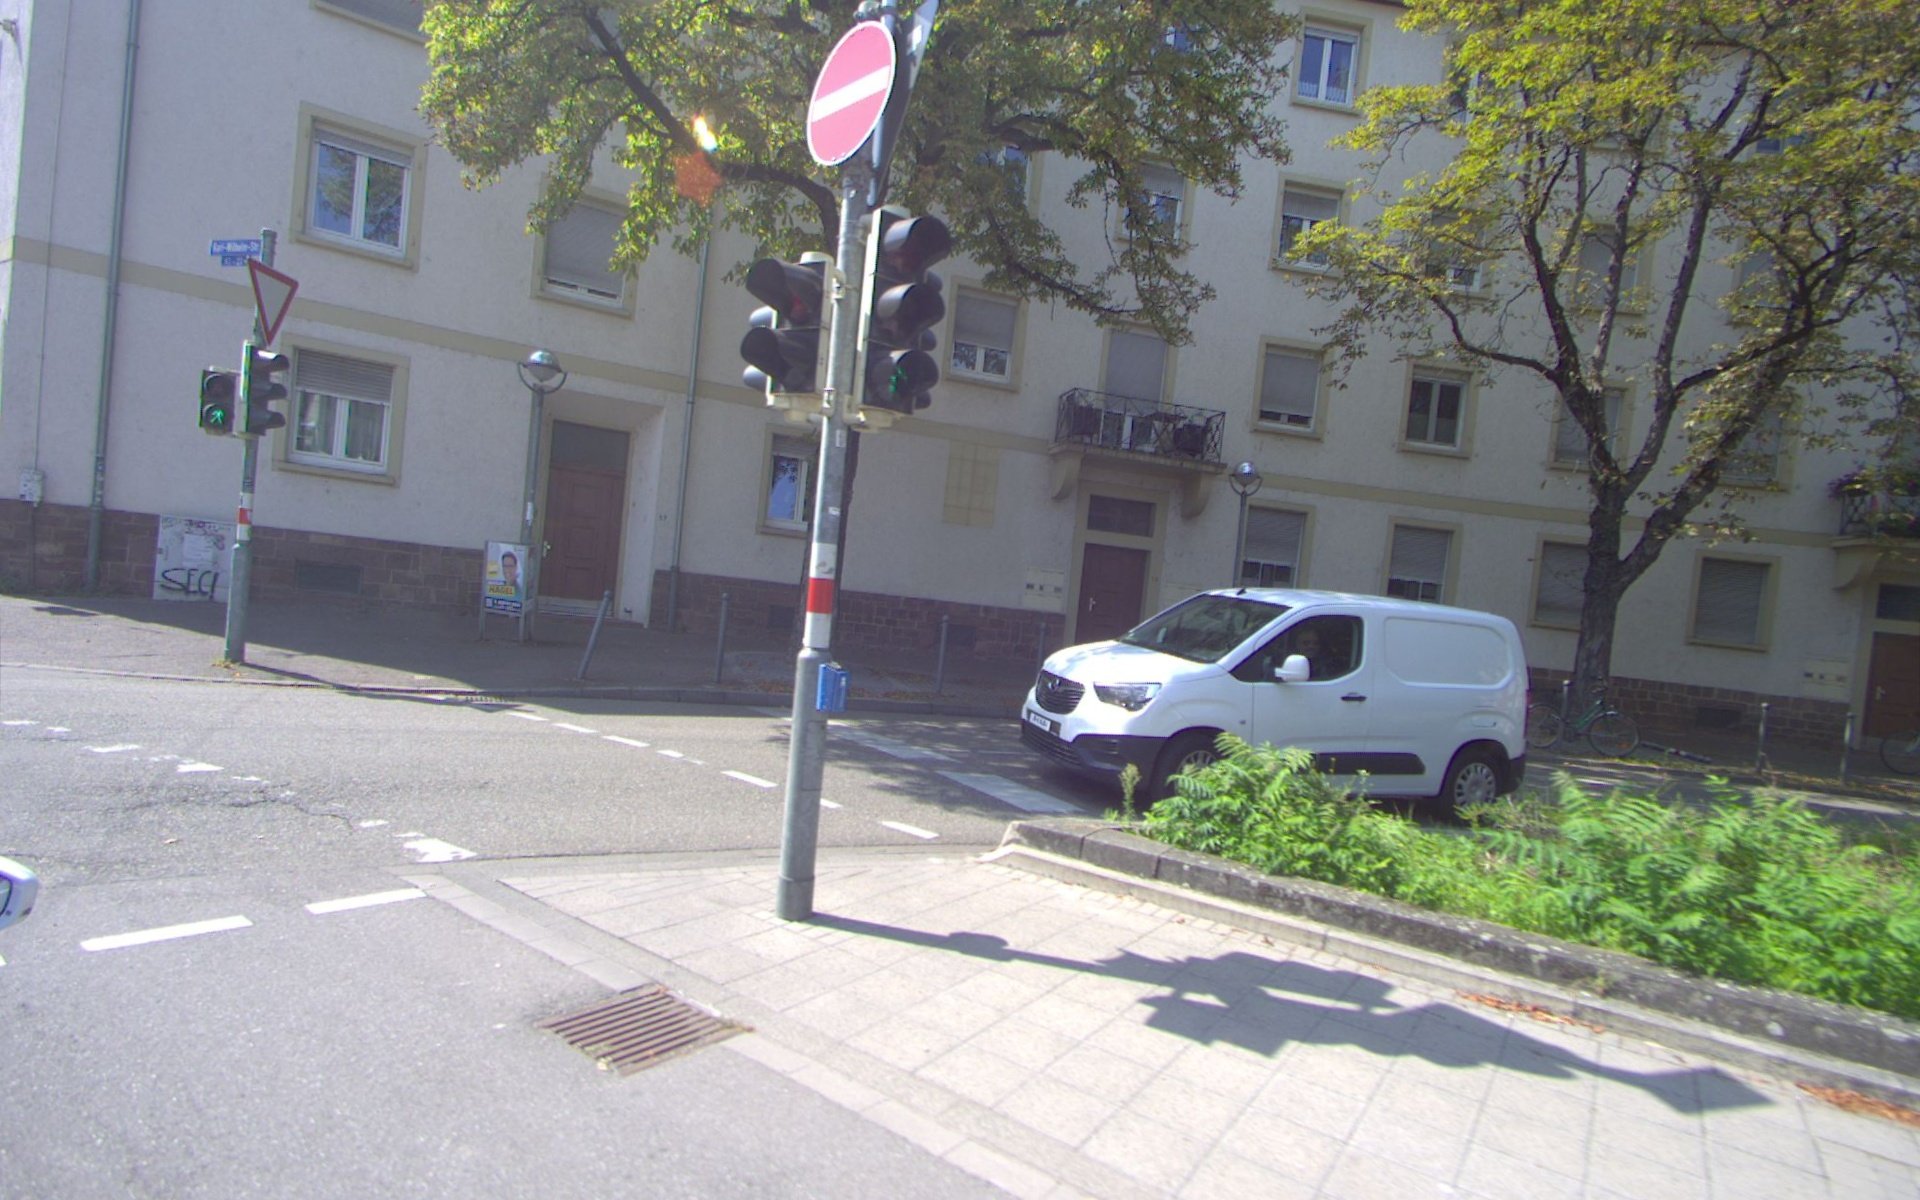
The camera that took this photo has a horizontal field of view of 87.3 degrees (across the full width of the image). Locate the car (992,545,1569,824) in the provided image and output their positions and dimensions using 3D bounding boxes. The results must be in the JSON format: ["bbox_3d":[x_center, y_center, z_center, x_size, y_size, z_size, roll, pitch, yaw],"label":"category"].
[{"bbox_3d":[2.699,0.715,8.551,4.354,1.835,1.795,6,1,-21],"label":"car"}]

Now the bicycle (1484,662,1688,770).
[{"bbox_3d":[8.952,1.638,14.501,2.226,1.141,0.810,7,4,12],"label":"bicycle"}]

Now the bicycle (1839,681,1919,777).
[{"bbox_3d":[15.998,2.187,16.328,2.311,1.427,0.891,7,0,22],"label":"bicycle"}]
